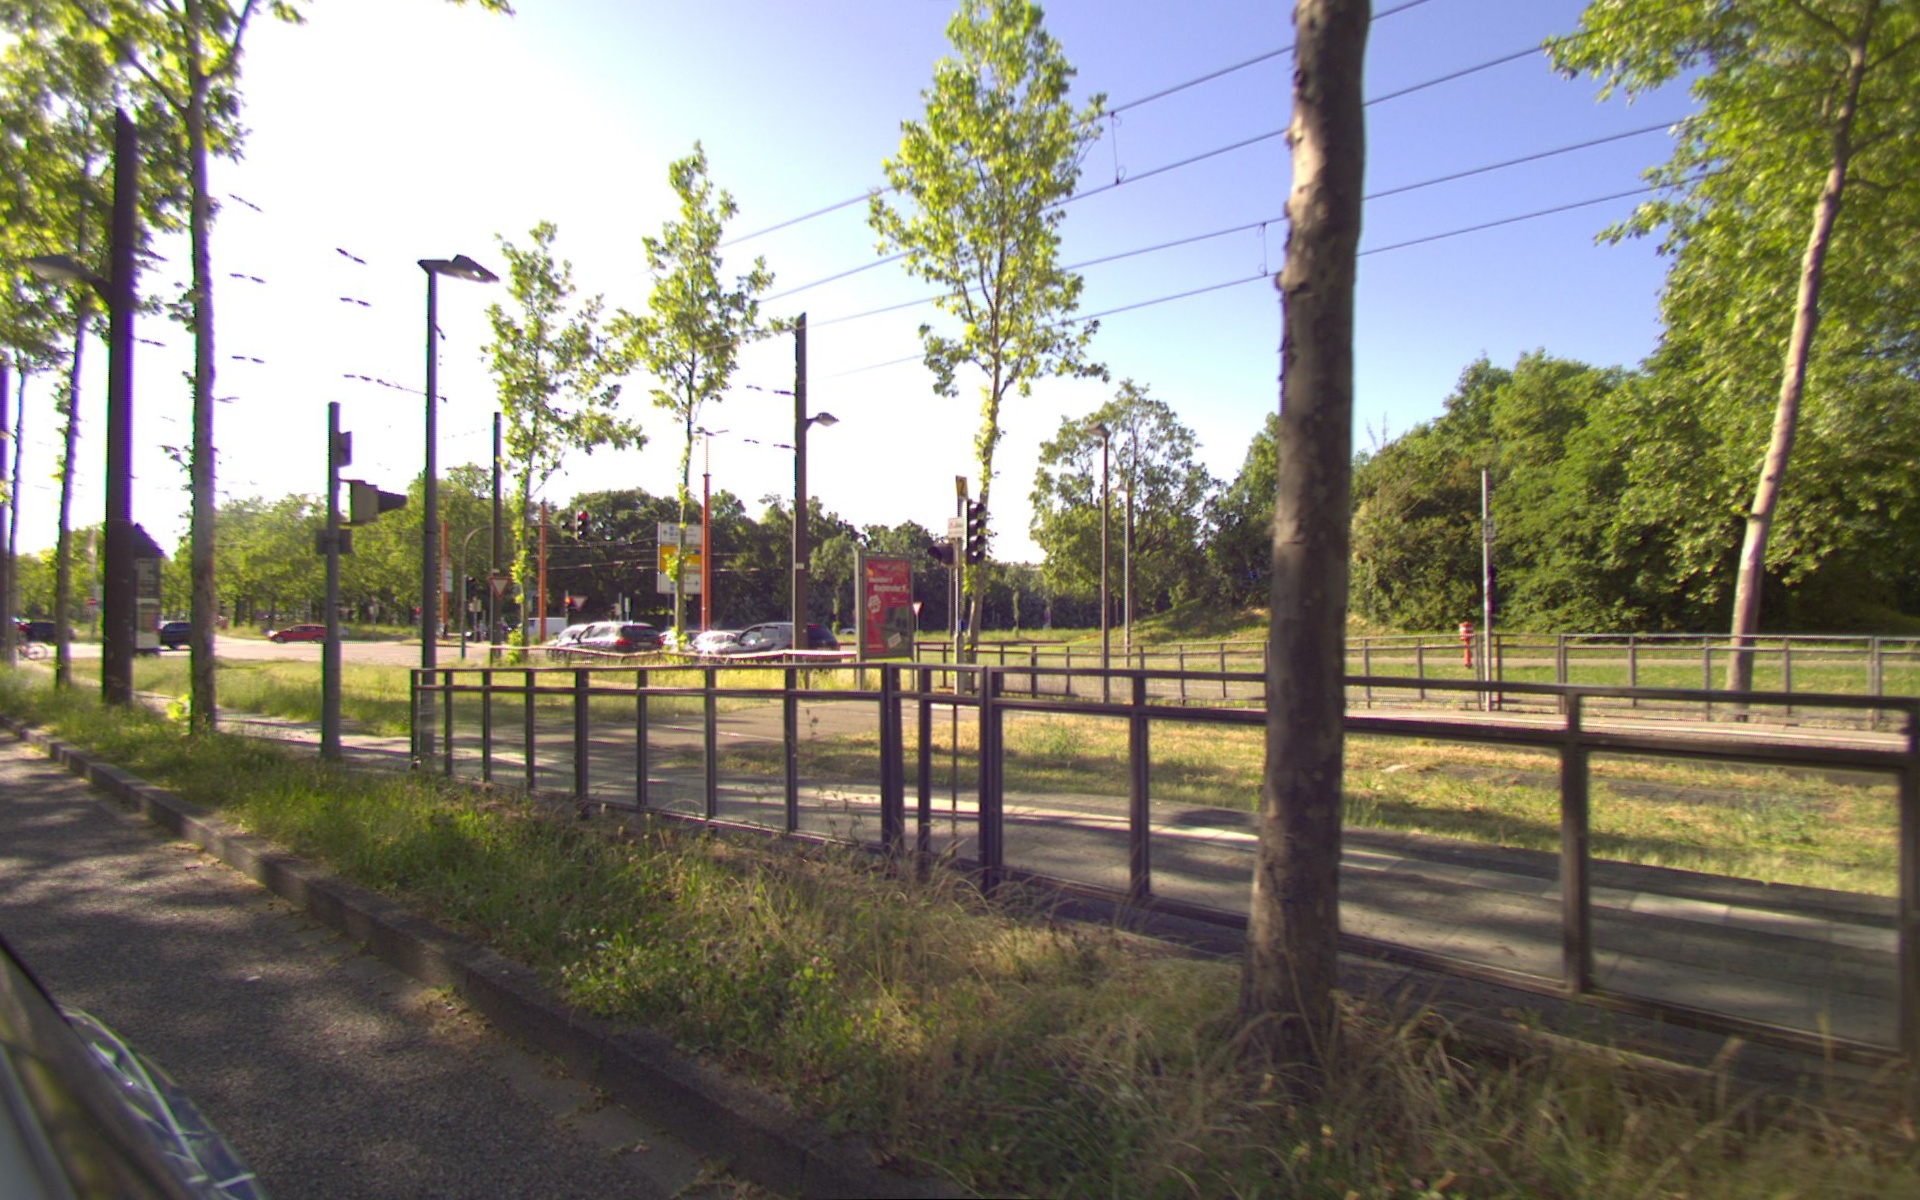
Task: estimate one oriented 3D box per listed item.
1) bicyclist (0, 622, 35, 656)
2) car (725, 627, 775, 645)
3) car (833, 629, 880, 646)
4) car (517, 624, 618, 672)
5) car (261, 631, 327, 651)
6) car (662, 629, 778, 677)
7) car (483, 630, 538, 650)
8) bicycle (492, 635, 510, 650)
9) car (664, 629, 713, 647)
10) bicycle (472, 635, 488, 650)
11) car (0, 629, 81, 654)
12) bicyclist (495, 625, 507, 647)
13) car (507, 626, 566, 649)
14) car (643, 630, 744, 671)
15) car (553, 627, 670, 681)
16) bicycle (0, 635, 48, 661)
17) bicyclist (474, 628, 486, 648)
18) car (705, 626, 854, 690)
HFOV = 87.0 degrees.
[{"bbox_3d":[-41.937,1.708,45.031,0.940,1.489,0.705,0,-1,-25],"label":"bicyclist"},{"bbox_3d":[-18.006,3.055,86.689,3.930,1.522,1.806,1,-2,-22],"label":"car"},{"bbox_3d":[-9.602,3.502,93.961,3.930,1.522,1.806,1,-2,-22],"label":"car"},{"bbox_3d":[-14.472,1.735,37.199,4.232,1.629,1.775,-2,-2,42],"label":"car"},{"bbox_3d":[-50.998,3.142,77.625,3.930,1.522,1.806,1,-2,-22],"label":"car"},{"bbox_3d":[-8.268,1.771,34.698,4.266,1.522,1.775,-2,-2,42],"label":"car"},{"bbox_3d":[-35.617,3.146,80.362,3.930,1.522,1.806,1,-2,-22],"label":"car"},{"bbox_3d":[-33.790,3.108,74.465,1.800,1.116,0.554,-2,-2,44],"label":"bicycle"},{"bbox_3d":[-23.764,3.313,88.701,3.930,1.522,1.806,1,-2,-22],"label":"car"},{"bbox_3d":[-34.916,3.093,73.606,1.800,1.116,0.493,-2,-2,44],"label":"bicycle"},{"bbox_3d":[-62.550,2.800,68.715,3.930,1.667,1.806,0,-2,-21],"label":"car"},{"bbox_3d":[-33.791,2.646,74.478,0.715,1.665,0.554,-2,-2,44],"label":"bicyclist"},{"bbox_3d":[-35.116,3.092,83.980,4.478,1.850,1.806,1,-2,-22],"label":"car"},{"bbox_3d":[-10.634,1.959,40.240,4.263,1.522,1.776,-1,-2,40],"label":"car"},{"bbox_3d":[-11.410,1.716,32.981,4.232,1.629,1.775,-2,-2,42],"label":"car"},{"bbox_3d":[-41.939,2.140,45.021,1.868,1.116,0.705,0,-1,-25],"label":"bicycle"},{"bbox_3d":[-34.917,2.732,73.615,0.778,1.458,0.493,-2,-2,44],"label":"bicyclist"},{"bbox_3d":[-4.999,1.531,27.706,4.266,1.620,1.775,-2,-2,42],"label":"car"}]
